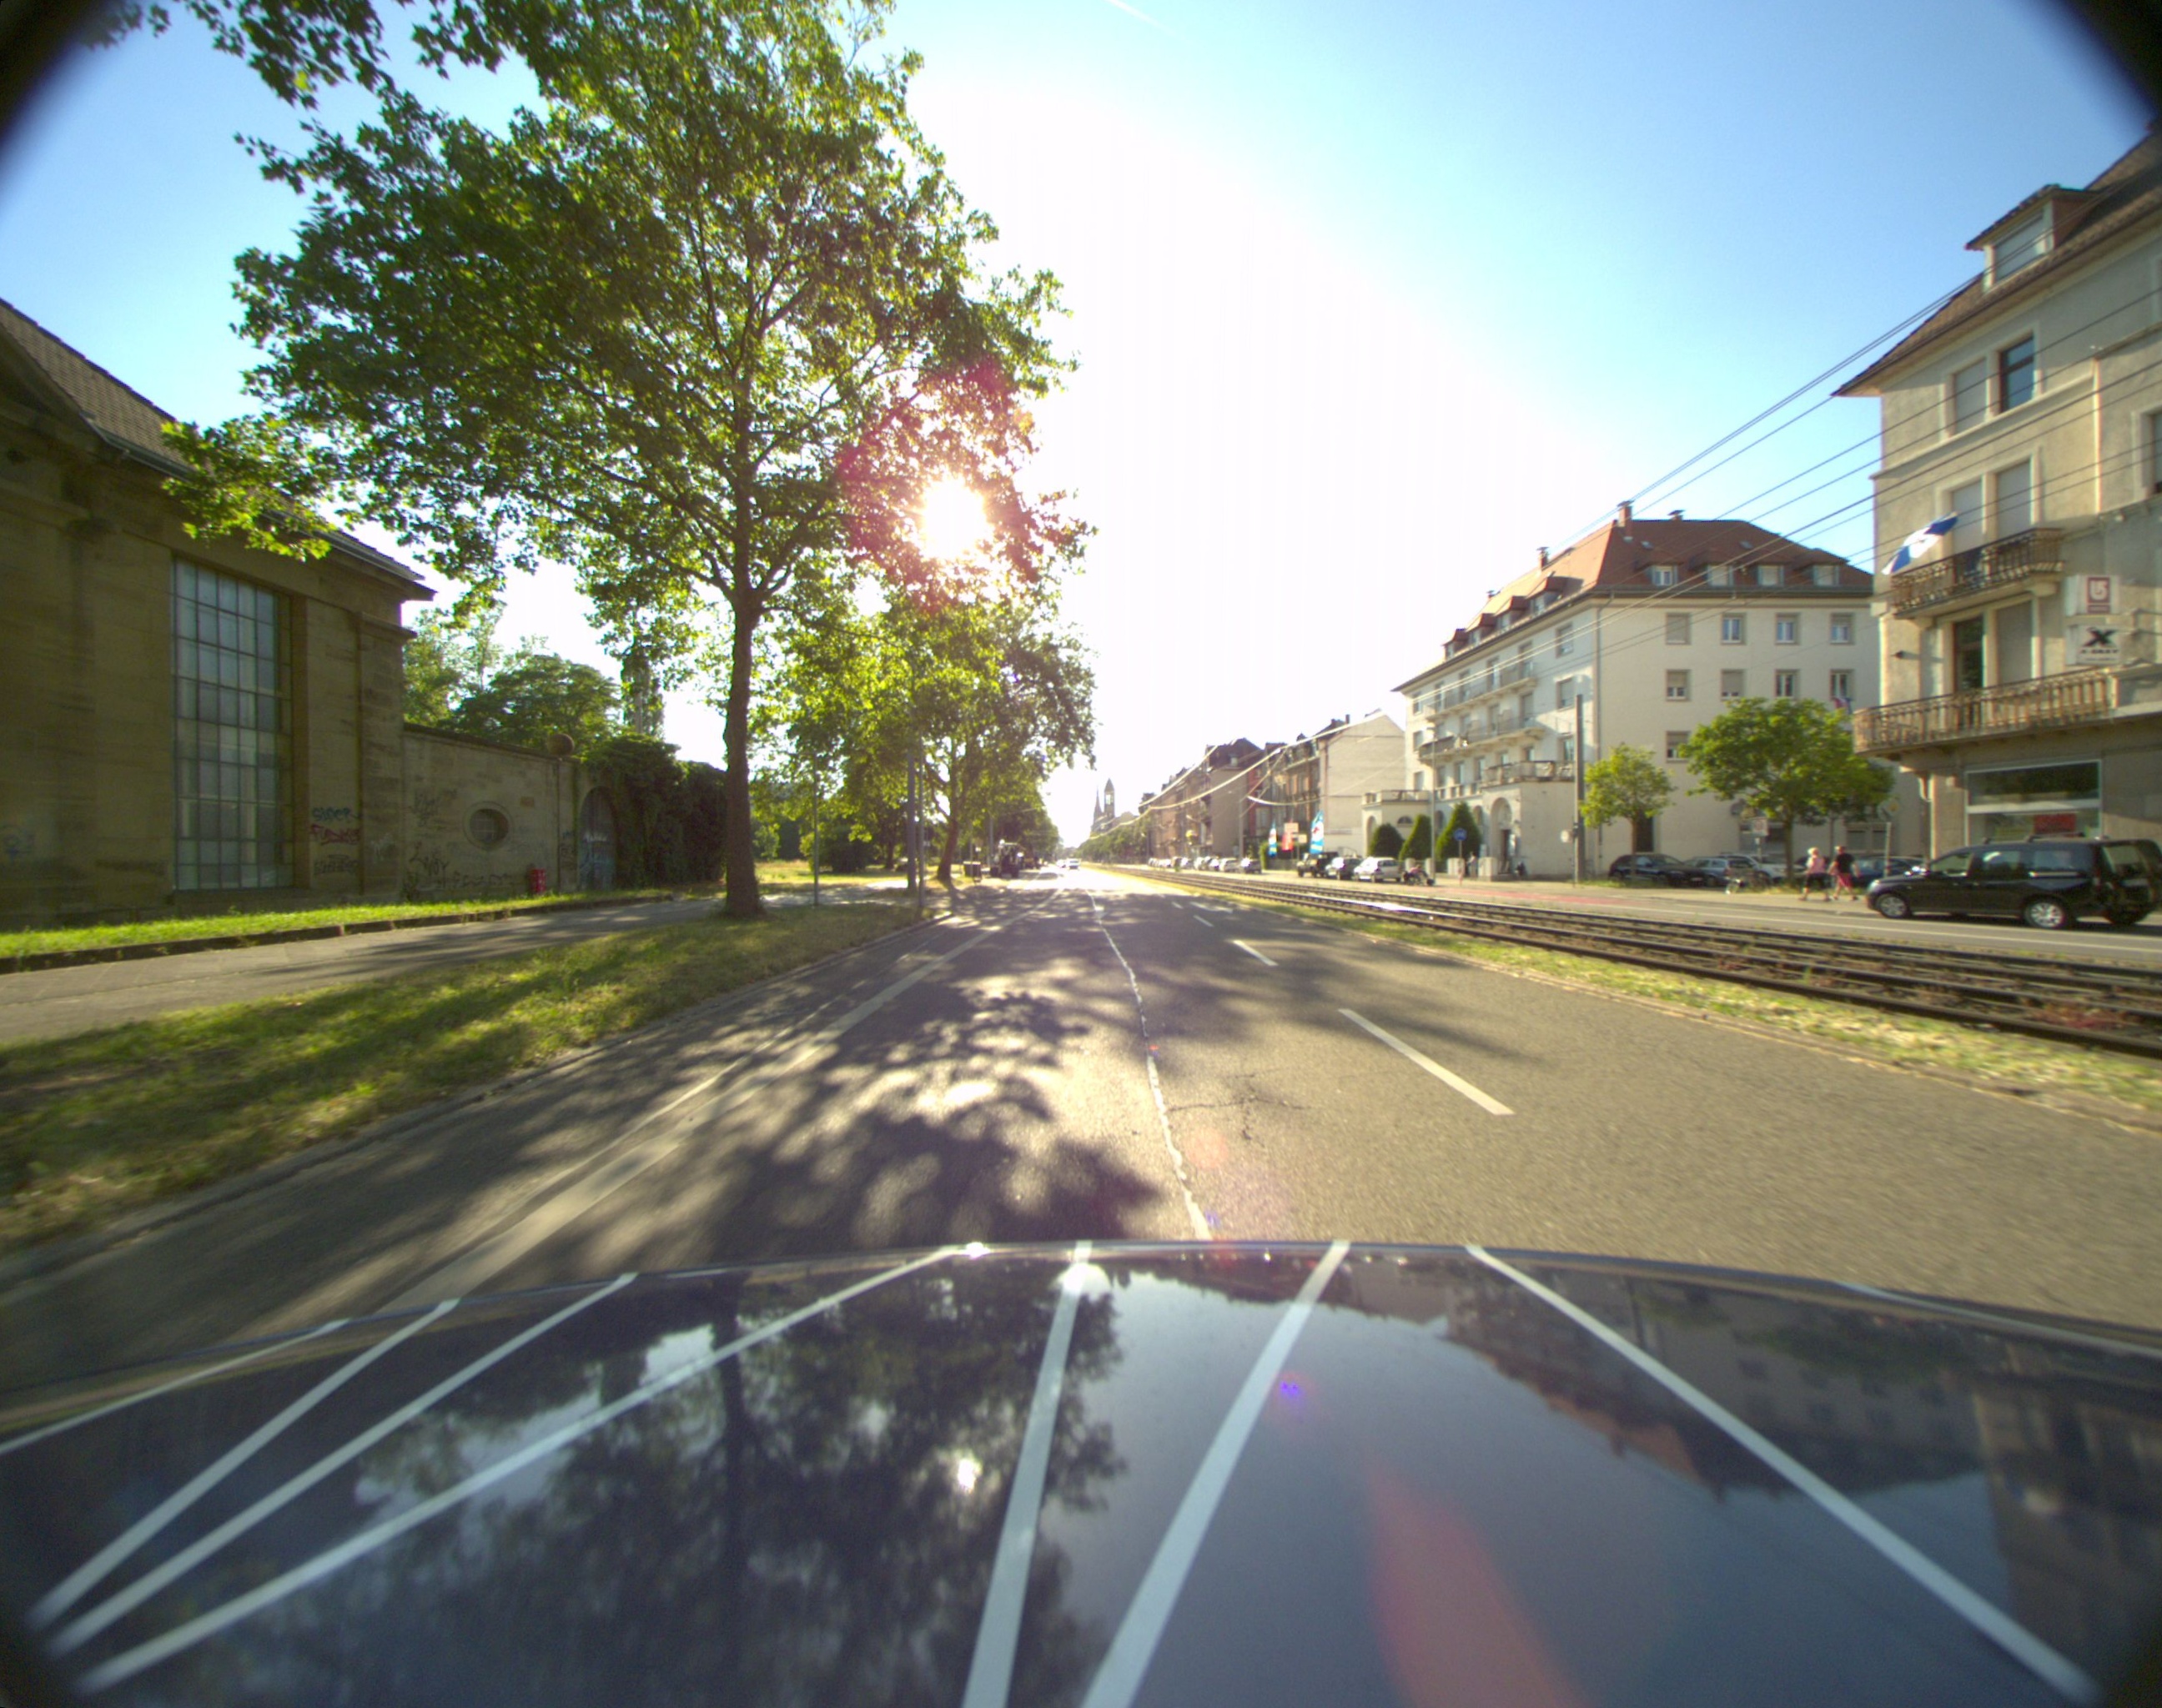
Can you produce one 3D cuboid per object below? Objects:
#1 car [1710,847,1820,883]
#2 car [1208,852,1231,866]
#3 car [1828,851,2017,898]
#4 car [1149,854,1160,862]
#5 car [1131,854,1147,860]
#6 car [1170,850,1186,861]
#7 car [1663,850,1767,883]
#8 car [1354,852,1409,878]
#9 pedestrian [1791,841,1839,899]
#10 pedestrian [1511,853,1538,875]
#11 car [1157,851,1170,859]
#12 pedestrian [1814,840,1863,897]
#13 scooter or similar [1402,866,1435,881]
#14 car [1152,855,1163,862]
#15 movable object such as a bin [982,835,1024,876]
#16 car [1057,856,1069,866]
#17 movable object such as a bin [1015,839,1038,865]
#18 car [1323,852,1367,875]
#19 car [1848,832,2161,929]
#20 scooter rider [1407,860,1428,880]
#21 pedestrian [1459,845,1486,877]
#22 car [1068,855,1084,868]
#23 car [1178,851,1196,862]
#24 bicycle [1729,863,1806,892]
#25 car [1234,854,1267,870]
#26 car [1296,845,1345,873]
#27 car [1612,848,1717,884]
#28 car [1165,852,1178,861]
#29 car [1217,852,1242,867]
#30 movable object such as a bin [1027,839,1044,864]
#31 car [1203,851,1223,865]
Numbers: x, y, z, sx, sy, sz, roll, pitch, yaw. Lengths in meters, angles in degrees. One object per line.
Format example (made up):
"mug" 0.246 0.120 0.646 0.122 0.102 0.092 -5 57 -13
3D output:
"car" 34.406 0.515 38.382 1.799 1.649 3.998 0 1 -3
"car" 17.237 0.589 94.657 1.925 1.552 4.841 -2 0 0
"car" 29.854 0.655 27.174 1.778 1.456 4.241 -3 1 -9
"car" 15.156 0.757 156.019 1.799 1.633 4.630 -2 0 0
"car" 15.331 0.852 200.316 3.991 1.502 1.802 -2 1 19
"car" 15.964 0.279 125.091 1.664 1.797 4.727 -2 0 -4
"car" 31.797 0.576 38.276 1.799 1.502 3.998 0 1 -3
"car" 18.977 0.675 48.164 1.799 1.501 3.999 -3 1 -1
"pedestrian" 22.238 0.467 23.040 0.591 1.687 0.856 -3 1 -19
"pedestrian" 24.812 0.544 42.528 0.879 1.180 0.894 -3 1 -10
"car" 15.339 0.122 141.478 1.664 1.437 3.980 -2 0 -2
"pedestrian" 23.025 0.432 23.113 0.591 1.687 0.856 -3 1 -19
"scooter or similar" 18.427 1.065 41.508 1.565 0.766 0.810 0 0 29
"car" 15.208 0.892 151.171 1.664 1.437 3.764 -2 0 -2
"movable object such as a bin" -6.317 0.134 62.588 2.751 3.127 7.218 3 0 -1
"car" -2.836 1.100 118.383 1.799 1.501 3.999 -3 0 -2
"movable object such as a bin" -8.707 -0.270 122.005 3.348 3.953 7.595 2 0 -4
"car" 18.623 0.642 53.807 1.639 1.499 4.158 -3 1 0
"car" 20.204 0.522 16.801 1.867 1.776 4.400 -3 0 -3
"scooter rider" 18.389 0.882 41.524 0.976 1.082 0.809 0 0 29
"pedestrian" 22.622 0.397 43.883 0.995 1.767 0.934 -3 1 -16
"car" -0.703 0.952 94.520 1.799 1.501 3.999 -3 0 -2
"car" 16.572 0.381 118.688 1.926 1.529 4.626 -2 0 -2
"bicycle" 25.788 0.852 28.620 0.685 1.010 2.413 -3 0 0
"car" 17.697 0.828 79.523 1.926 1.452 4.840 -6 0 -4
"car" 18.834 0.389 60.040 2.082 1.998 5.591 -3 0 0
"car" 28.985 0.533 37.942 1.799 1.631 4.260 0 1 -3
"car" 15.524 0.403 130.499 1.664 1.437 3.980 -2 0 -2
"car" 17.366 0.656 88.841 1.925 1.684 4.842 -2 0 0
"movable object such as a bin" -8.618 -0.457 141.991 2.923 4.583 7.595 2 0 -4
"car" 17.394 0.561 100.497 1.925 1.770 4.499 -2 0 2
